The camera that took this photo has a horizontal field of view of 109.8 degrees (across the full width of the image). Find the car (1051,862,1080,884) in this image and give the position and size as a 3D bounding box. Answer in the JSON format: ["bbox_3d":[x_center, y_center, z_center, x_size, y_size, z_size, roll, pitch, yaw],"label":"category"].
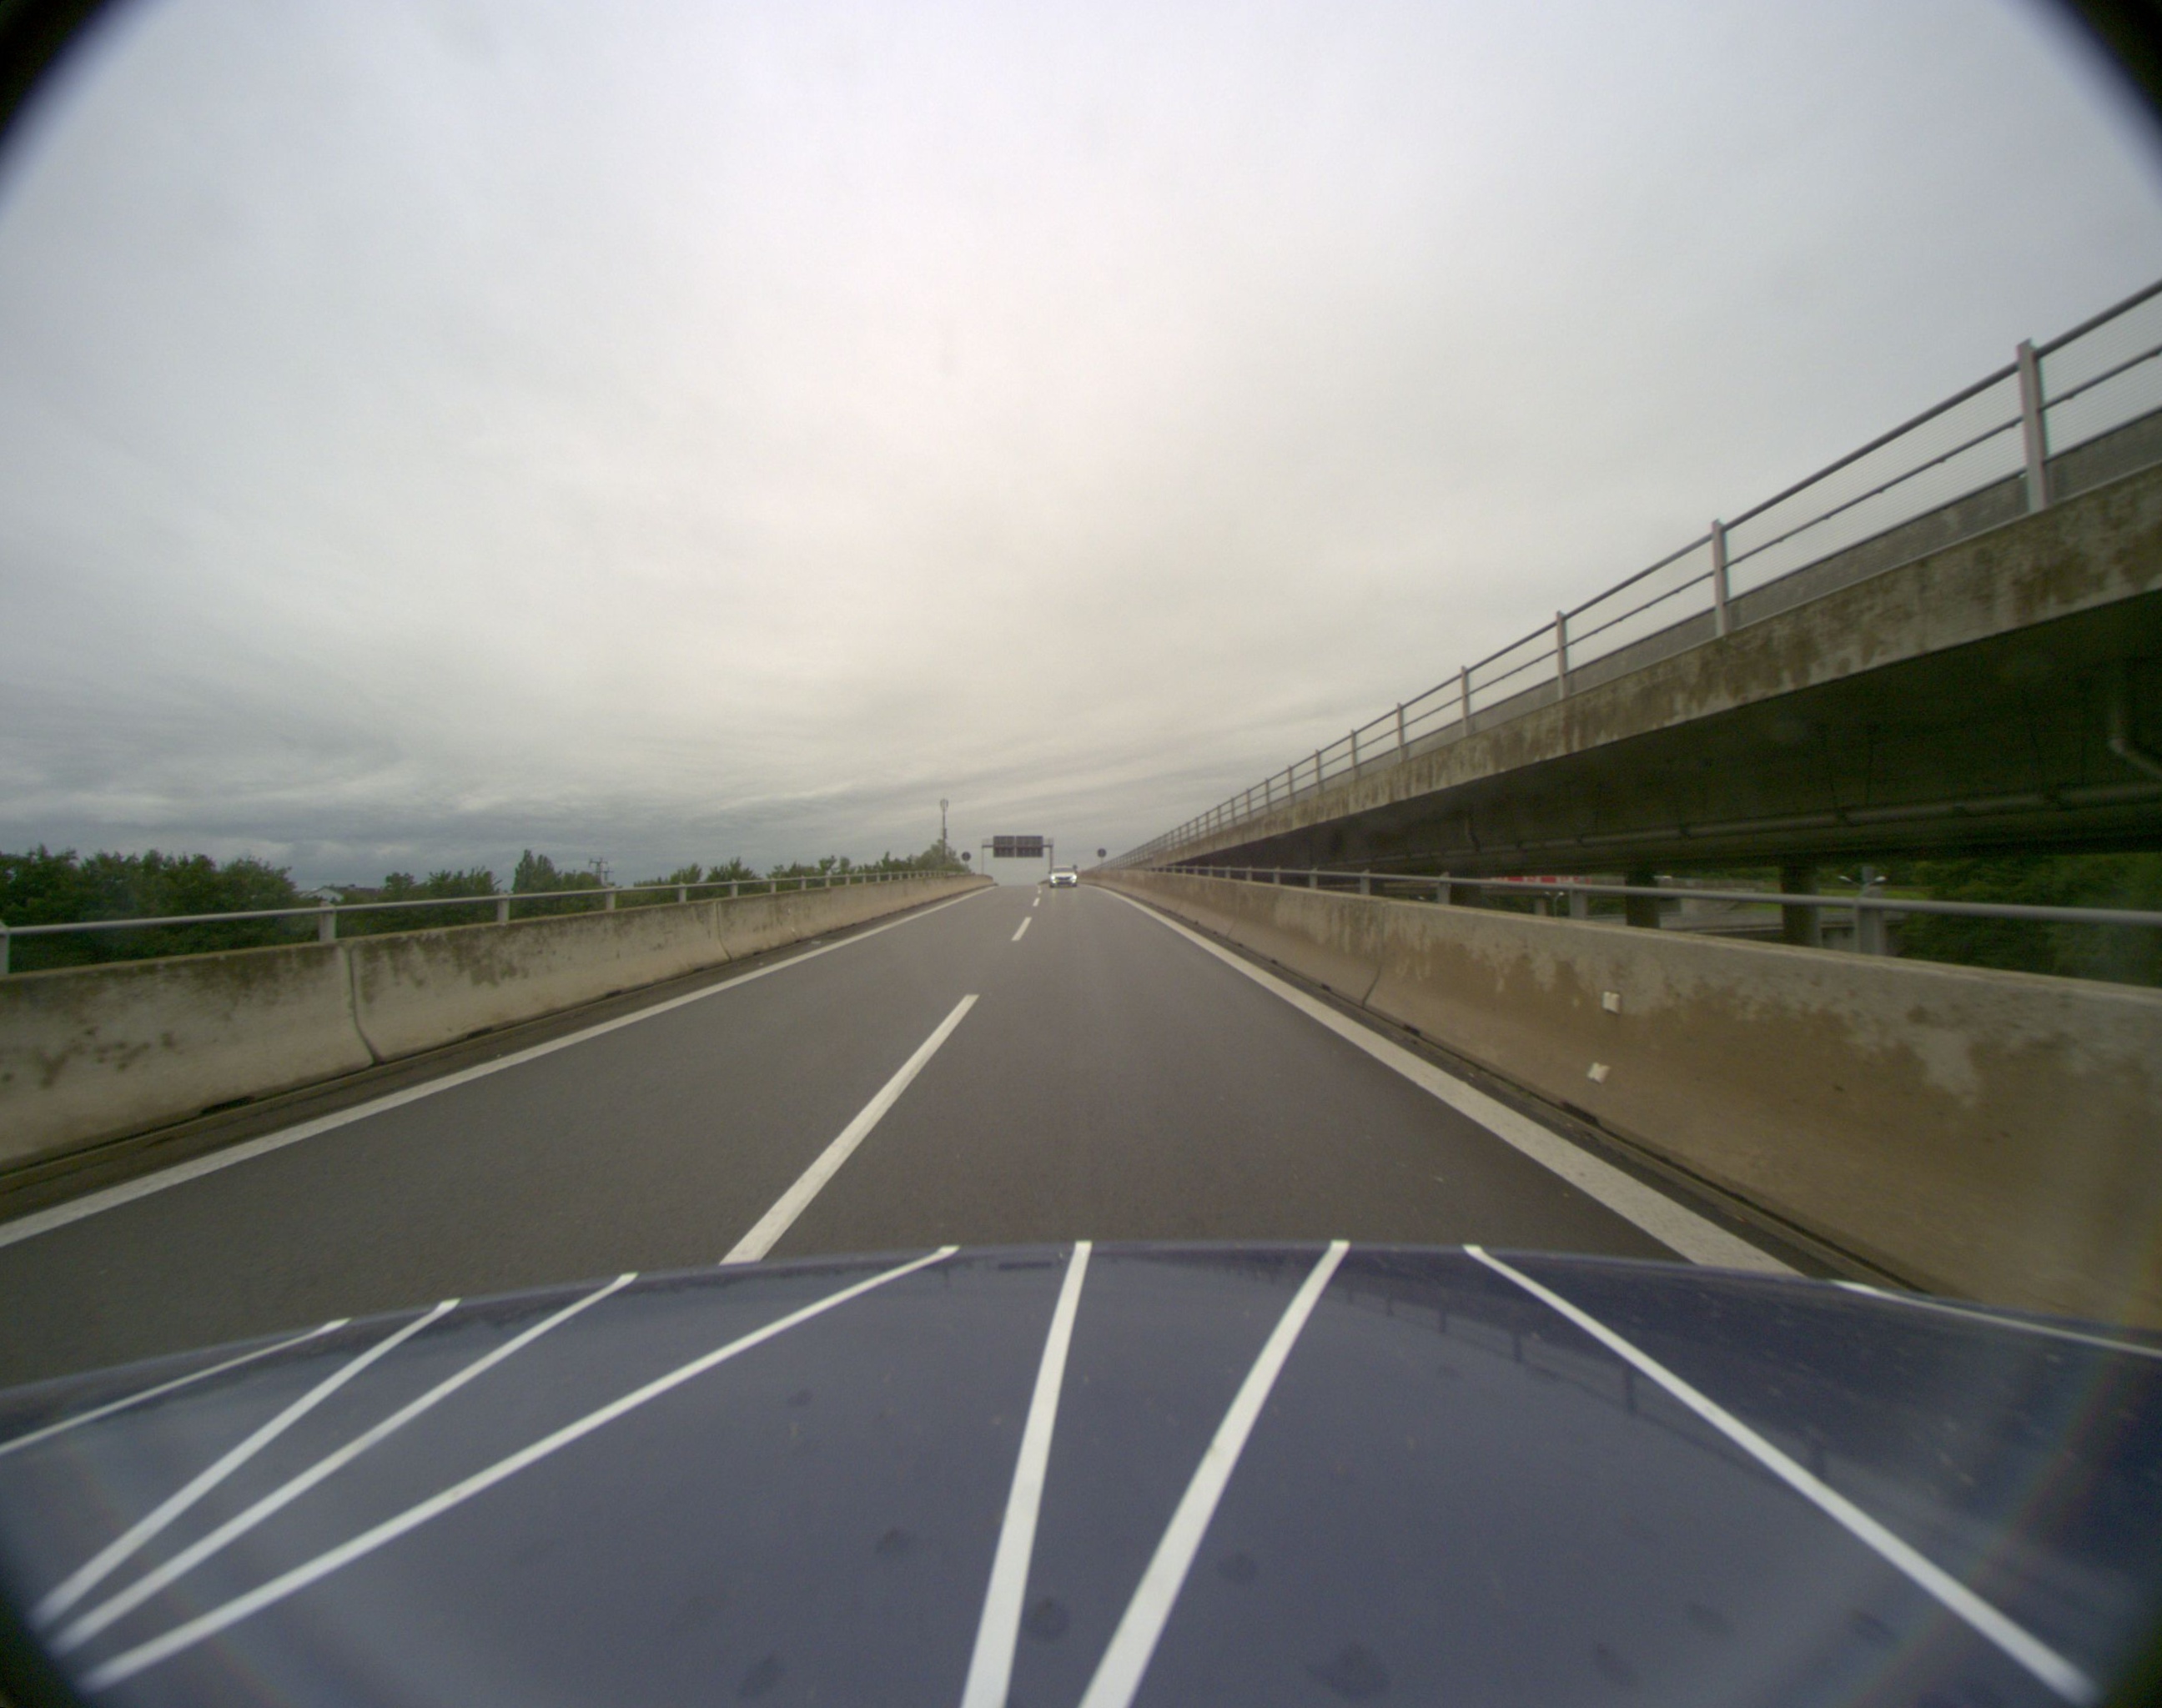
[{"bbox_3d":[-1.086,1.248,51.707,1.915,1.439,4.556,0,-1,-2],"label":"car"}]
